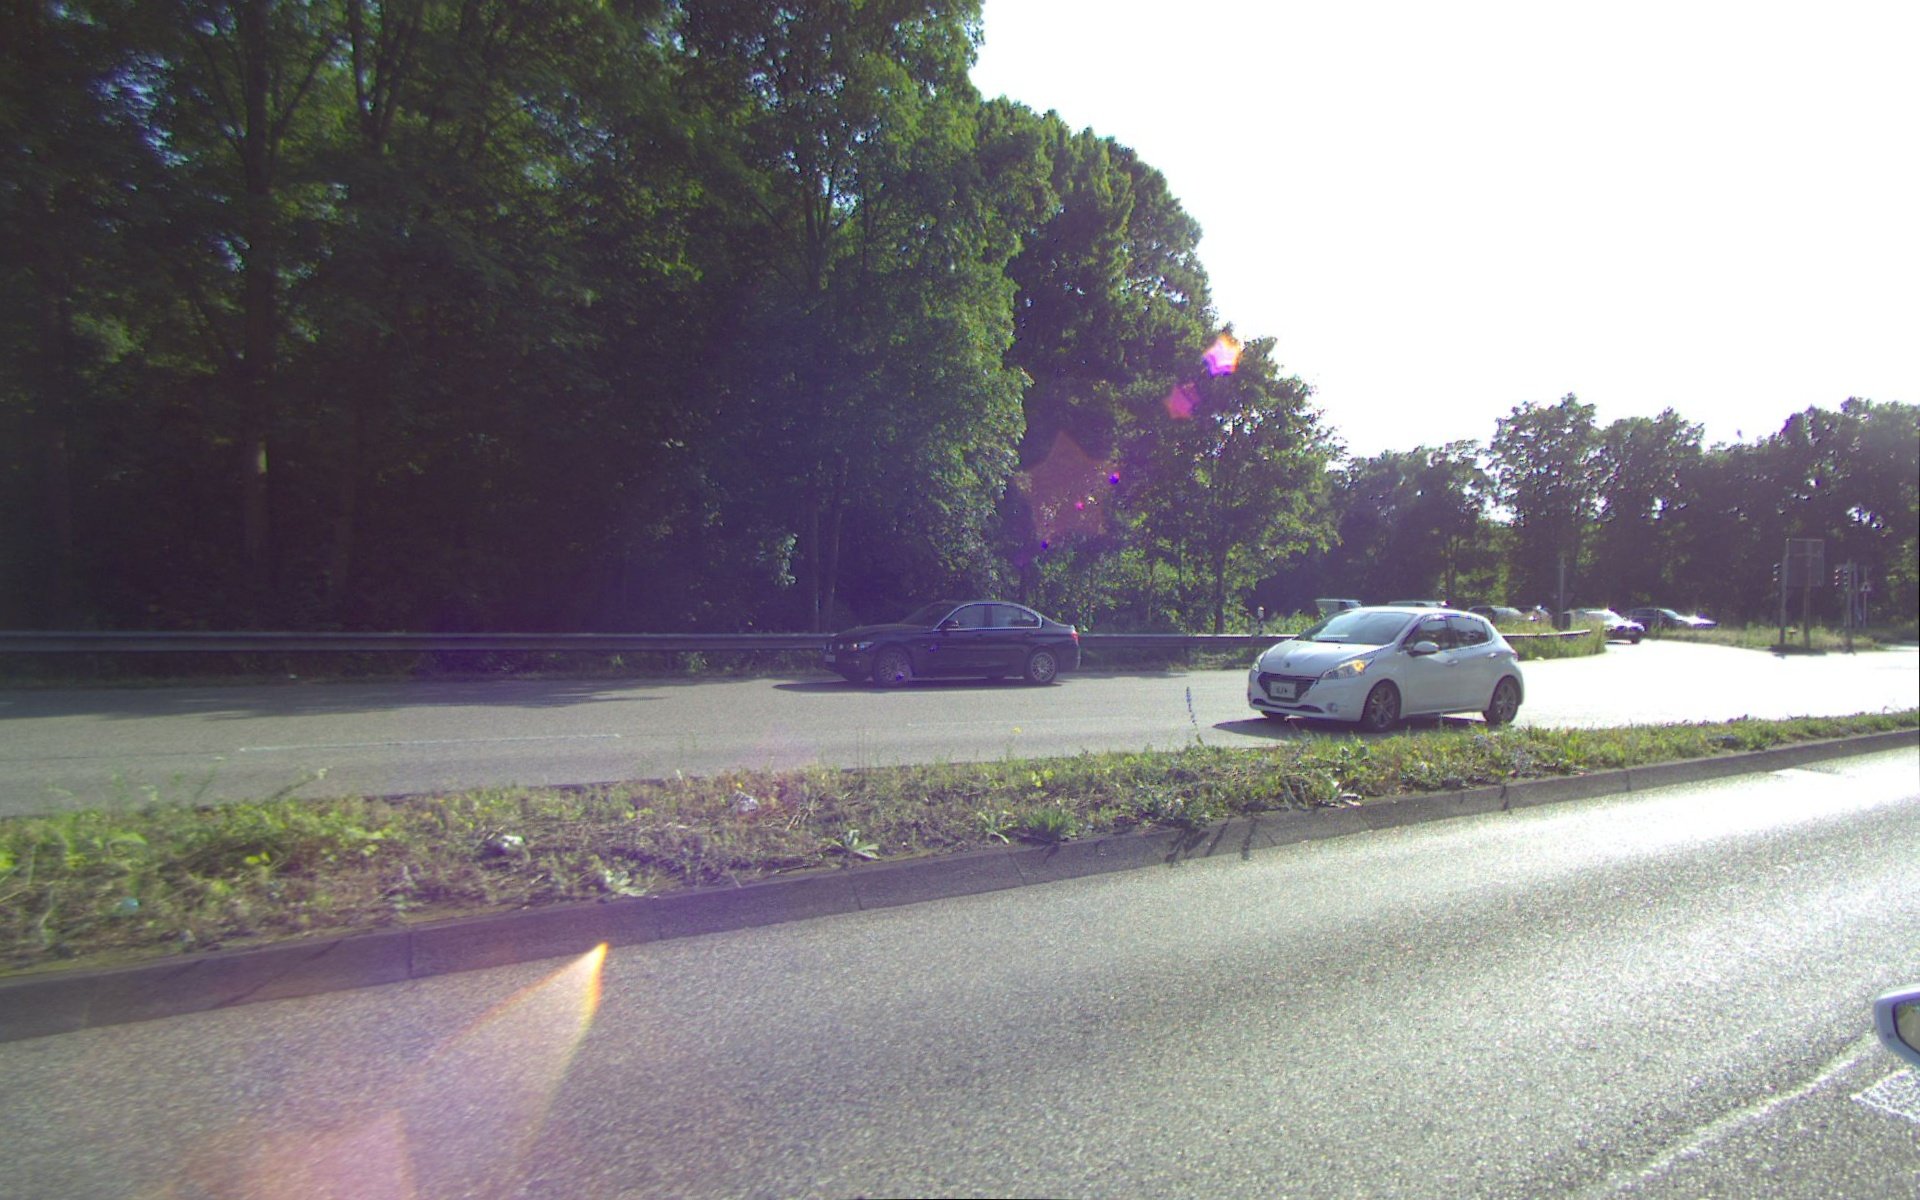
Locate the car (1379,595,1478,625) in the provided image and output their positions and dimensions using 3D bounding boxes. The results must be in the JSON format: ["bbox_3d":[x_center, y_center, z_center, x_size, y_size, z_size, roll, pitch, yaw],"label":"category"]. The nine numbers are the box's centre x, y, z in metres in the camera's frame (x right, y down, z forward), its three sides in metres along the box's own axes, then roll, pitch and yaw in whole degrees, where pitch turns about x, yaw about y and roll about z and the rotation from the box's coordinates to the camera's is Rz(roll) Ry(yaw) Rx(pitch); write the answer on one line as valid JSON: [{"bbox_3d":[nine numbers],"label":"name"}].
[{"bbox_3d":[27.899,0.584,60.019,2.411,1.510,5.045,1,2,-21],"label":"car"}]

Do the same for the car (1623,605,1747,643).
[{"bbox_3d":[34.177,1.098,47.490,1.970,1.510,4.400,1,2,-20],"label":"car"}]

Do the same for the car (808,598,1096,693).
[{"bbox_3d":[-0.075,0.719,17.223,4.698,1.425,1.779,1,1,-31],"label":"car"}]

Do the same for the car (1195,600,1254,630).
[{"bbox_3d":[20.713,1.144,78.911,2.159,2.124,4.629,1,2,-21],"label":"car"}]

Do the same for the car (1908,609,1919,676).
[{"bbox_3d":[27.982,1.144,27.262,4.701,1.787,2.066,1,-1,-31],"label":"car"}]

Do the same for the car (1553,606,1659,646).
[{"bbox_3d":[29.733,1.158,46.437,1.960,1.510,4.562,2,2,1],"label":"car"}]

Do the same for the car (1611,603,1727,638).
[{"bbox_3d":[35.818,1.001,50.854,1.977,1.510,4.384,1,2,-31],"label":"car"}]

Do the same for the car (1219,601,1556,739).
[{"bbox_3d":[5.472,0.792,12.762,4.177,1.430,1.779,1,2,-31],"label":"car"}]

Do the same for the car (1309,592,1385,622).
[{"bbox_3d":[25.586,0.453,66.581,2.159,1.750,4.629,1,2,-21],"label":"car"}]

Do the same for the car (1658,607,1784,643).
[{"bbox_3d":[38.813,1.226,51.353,2.144,1.510,4.684,1,2,-31],"label":"car"}]

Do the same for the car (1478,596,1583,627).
[{"bbox_3d":[32.900,0.642,58.071,2.176,1.510,4.962,1,2,-22],"label":"car"}]
